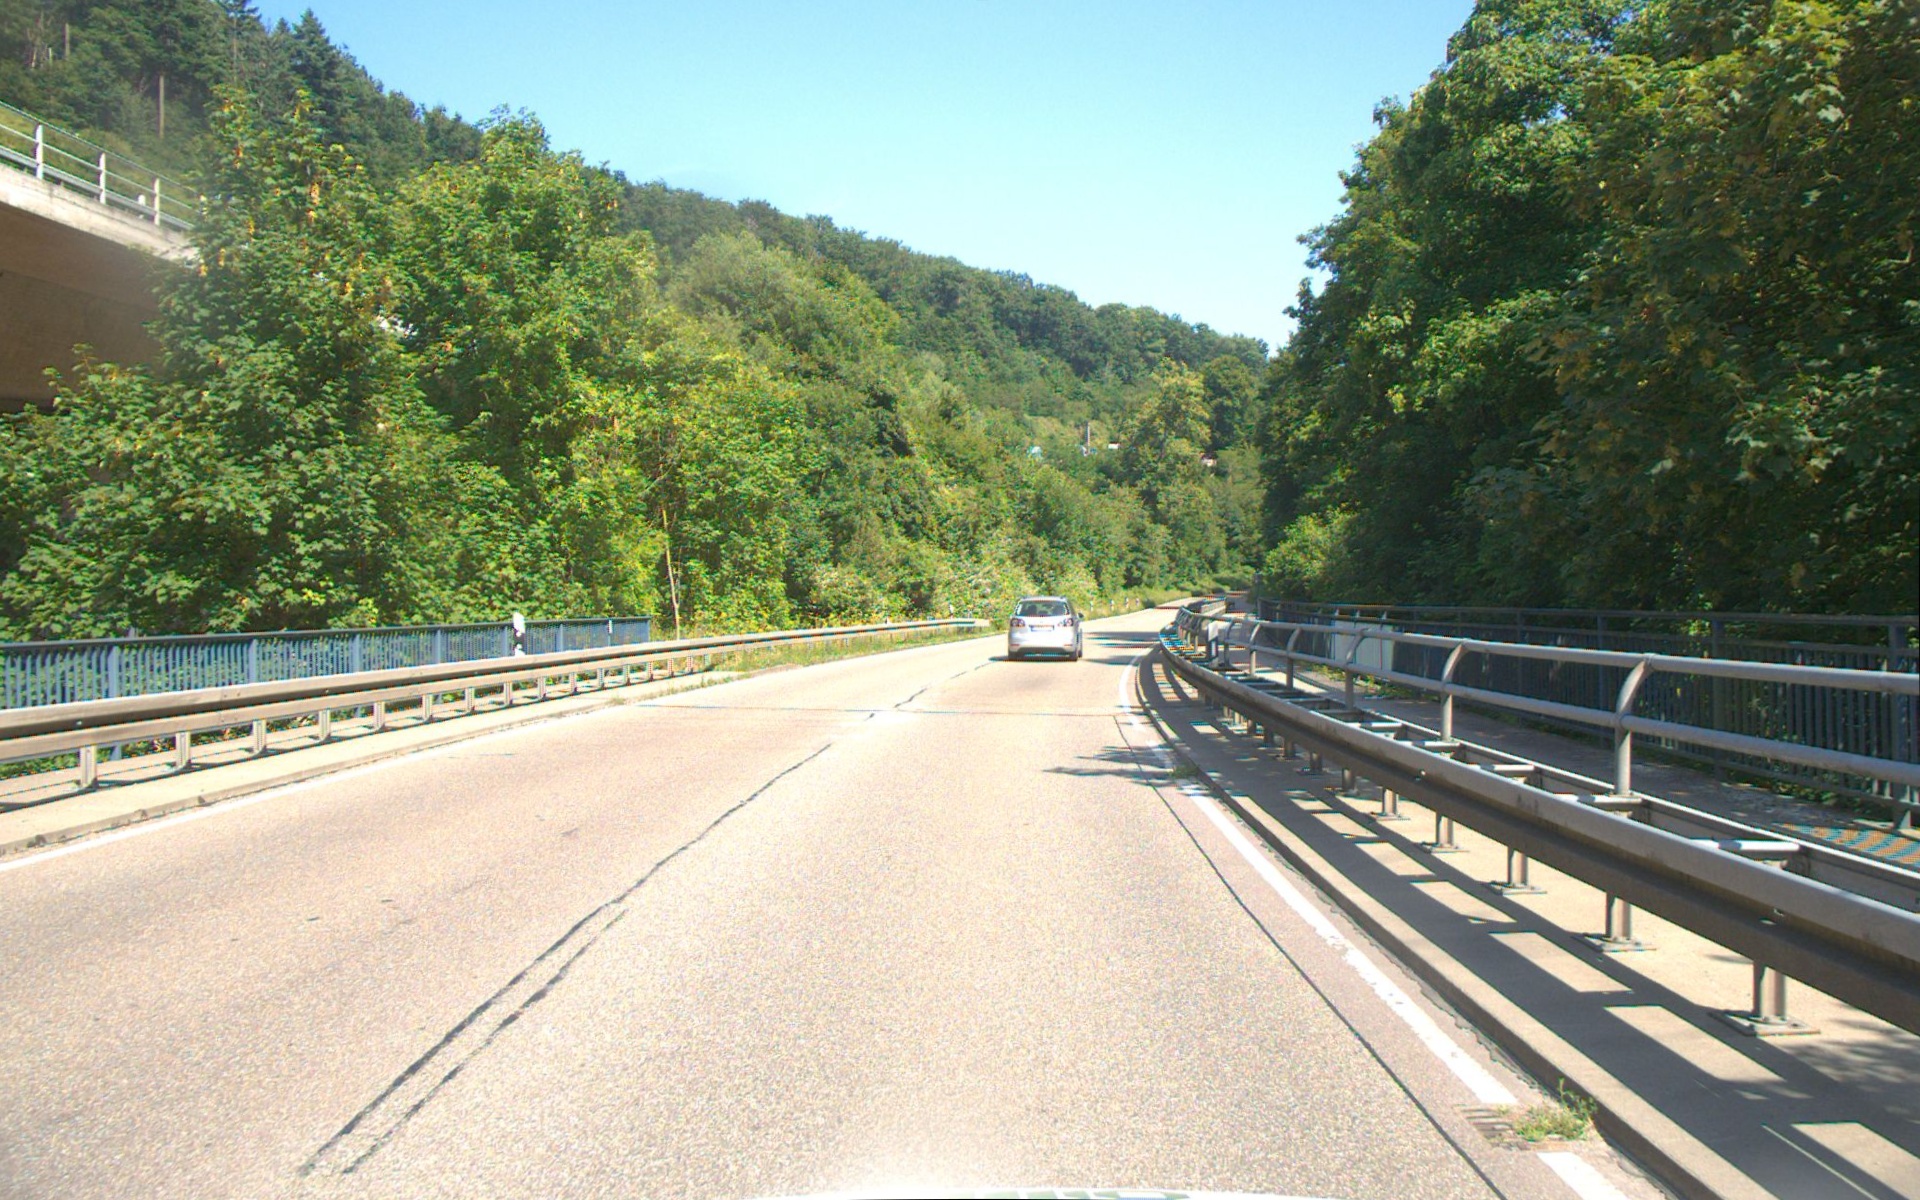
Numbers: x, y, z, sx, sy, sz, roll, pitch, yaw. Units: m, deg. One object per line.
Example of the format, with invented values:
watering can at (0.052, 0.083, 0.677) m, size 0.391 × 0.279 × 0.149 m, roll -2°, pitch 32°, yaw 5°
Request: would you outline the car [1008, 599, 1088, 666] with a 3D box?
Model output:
car at (2.254, 0.767, 41.477) m, size 1.714 × 1.546 × 4.162 m, roll 0°, pitch 1°, yaw 7°
